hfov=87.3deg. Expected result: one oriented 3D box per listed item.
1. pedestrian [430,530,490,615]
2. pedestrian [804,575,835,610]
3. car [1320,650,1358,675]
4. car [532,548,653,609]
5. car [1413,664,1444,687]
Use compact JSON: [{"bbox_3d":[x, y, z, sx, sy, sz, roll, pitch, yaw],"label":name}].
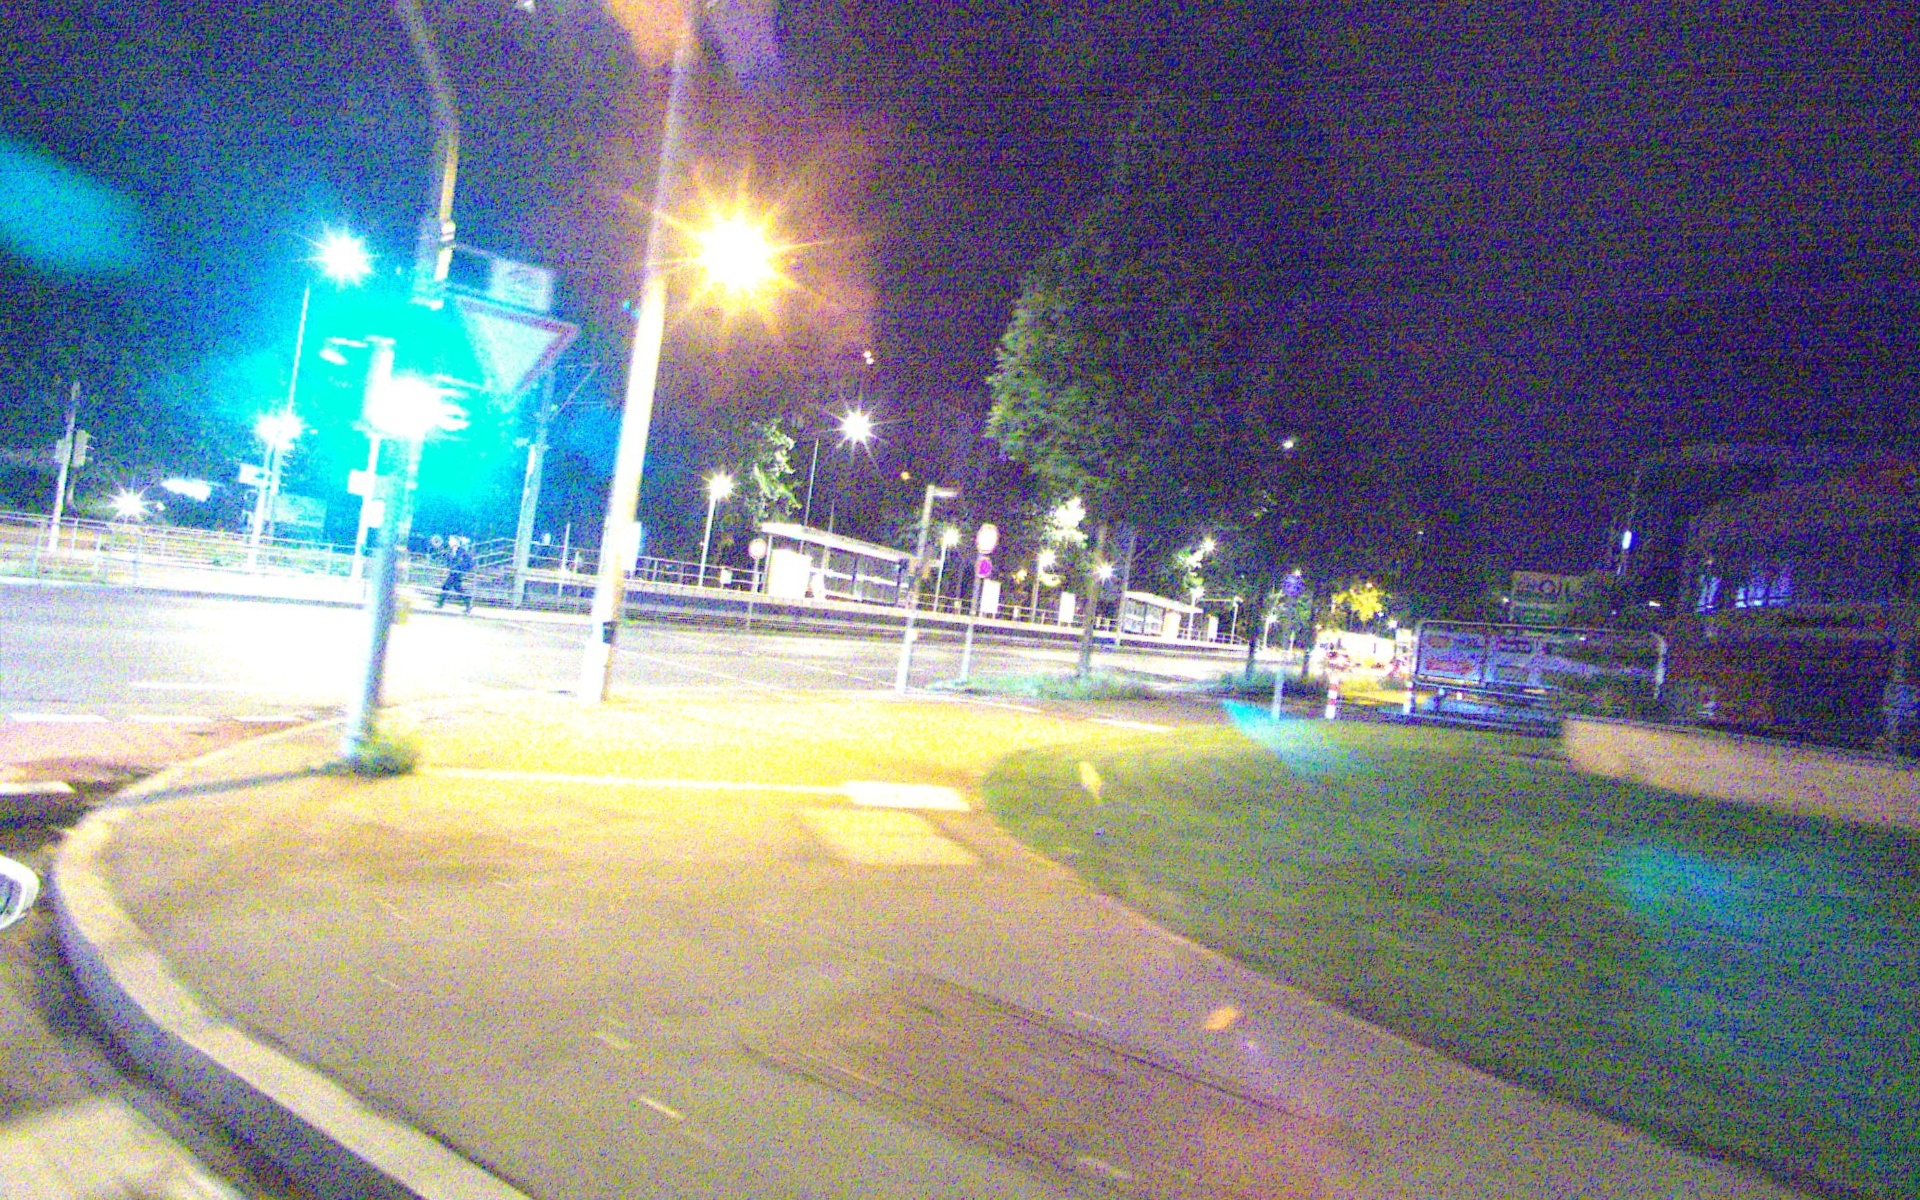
[{"bbox_3d":[-11.153,-0.602,22.456,0.819,1.768,0.755,8,3,31],"label":"pedestrian"},{"bbox_3d":[-6.566,-0.349,46.900,1.129,1.518,1.073,6,0,-19],"label":"pedestrian"},{"bbox_3d":[32.433,5.379,86.023,1.834,1.680,4.449,9,0,34],"label":"car"},{"bbox_3d":[-14.548,-0.832,39.951,1.969,2.039,3.984,6,1,36],"label":"car"},{"bbox_3d":[42.066,6.749,90.214,1.780,1.684,3.988,10,3,32],"label":"car"}]
